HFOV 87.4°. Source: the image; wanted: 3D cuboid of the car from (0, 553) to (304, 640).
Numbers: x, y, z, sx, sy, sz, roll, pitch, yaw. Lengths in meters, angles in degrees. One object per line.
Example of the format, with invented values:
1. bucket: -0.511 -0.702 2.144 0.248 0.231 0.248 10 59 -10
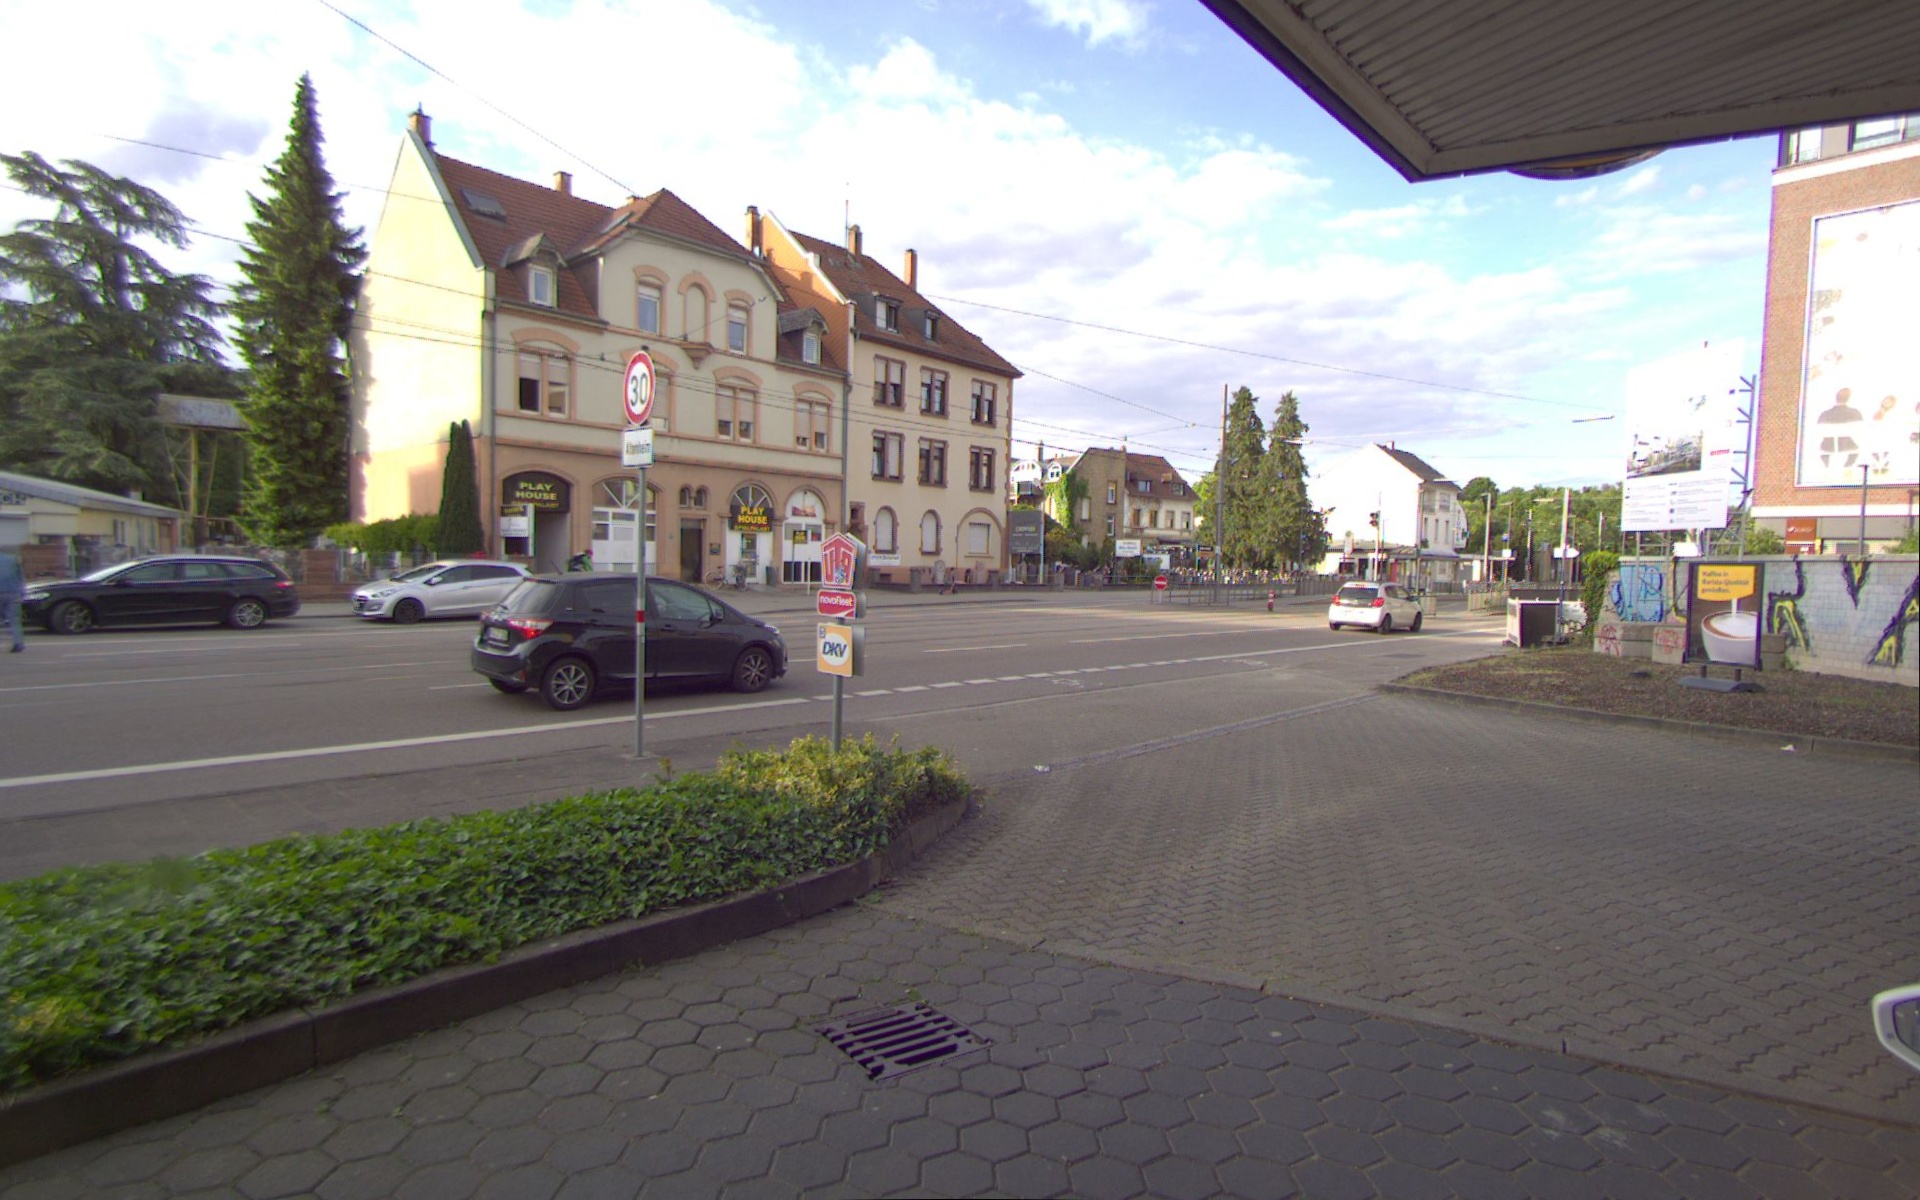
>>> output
1. car: -16.595 -0.140 20.731 1.983 1.520 4.755 4 4 39

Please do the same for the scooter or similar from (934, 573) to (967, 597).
1. scooter or similar: -0.430 -0.662 45.108 0.461 1.041 1.655 4 3 40

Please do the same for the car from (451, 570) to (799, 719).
1. car: -4.056 0.437 12.566 1.666 1.492 3.790 6 5 42

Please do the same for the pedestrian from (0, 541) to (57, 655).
1. pedestrian: -14.479 -0.044 15.277 0.994 1.690 0.961 0 2 -37

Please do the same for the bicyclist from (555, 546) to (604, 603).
1. bicyclist: -11.390 -0.766 30.058 0.852 1.627 1.025 6 4 35

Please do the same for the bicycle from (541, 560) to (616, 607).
1. bicycle: -11.405 -0.500 30.077 0.852 1.329 1.913 6 4 34

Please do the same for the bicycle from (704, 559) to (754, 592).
1. bicycle: -9.101 -0.954 39.607 0.665 1.229 1.862 4 2 41

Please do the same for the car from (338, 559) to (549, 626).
1. car: -12.914 -0.235 25.353 1.699 1.503 4.434 4 4 40

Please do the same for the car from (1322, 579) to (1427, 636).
1. car: 12.080 0.178 29.193 1.666 1.452 3.407 5 4 43
